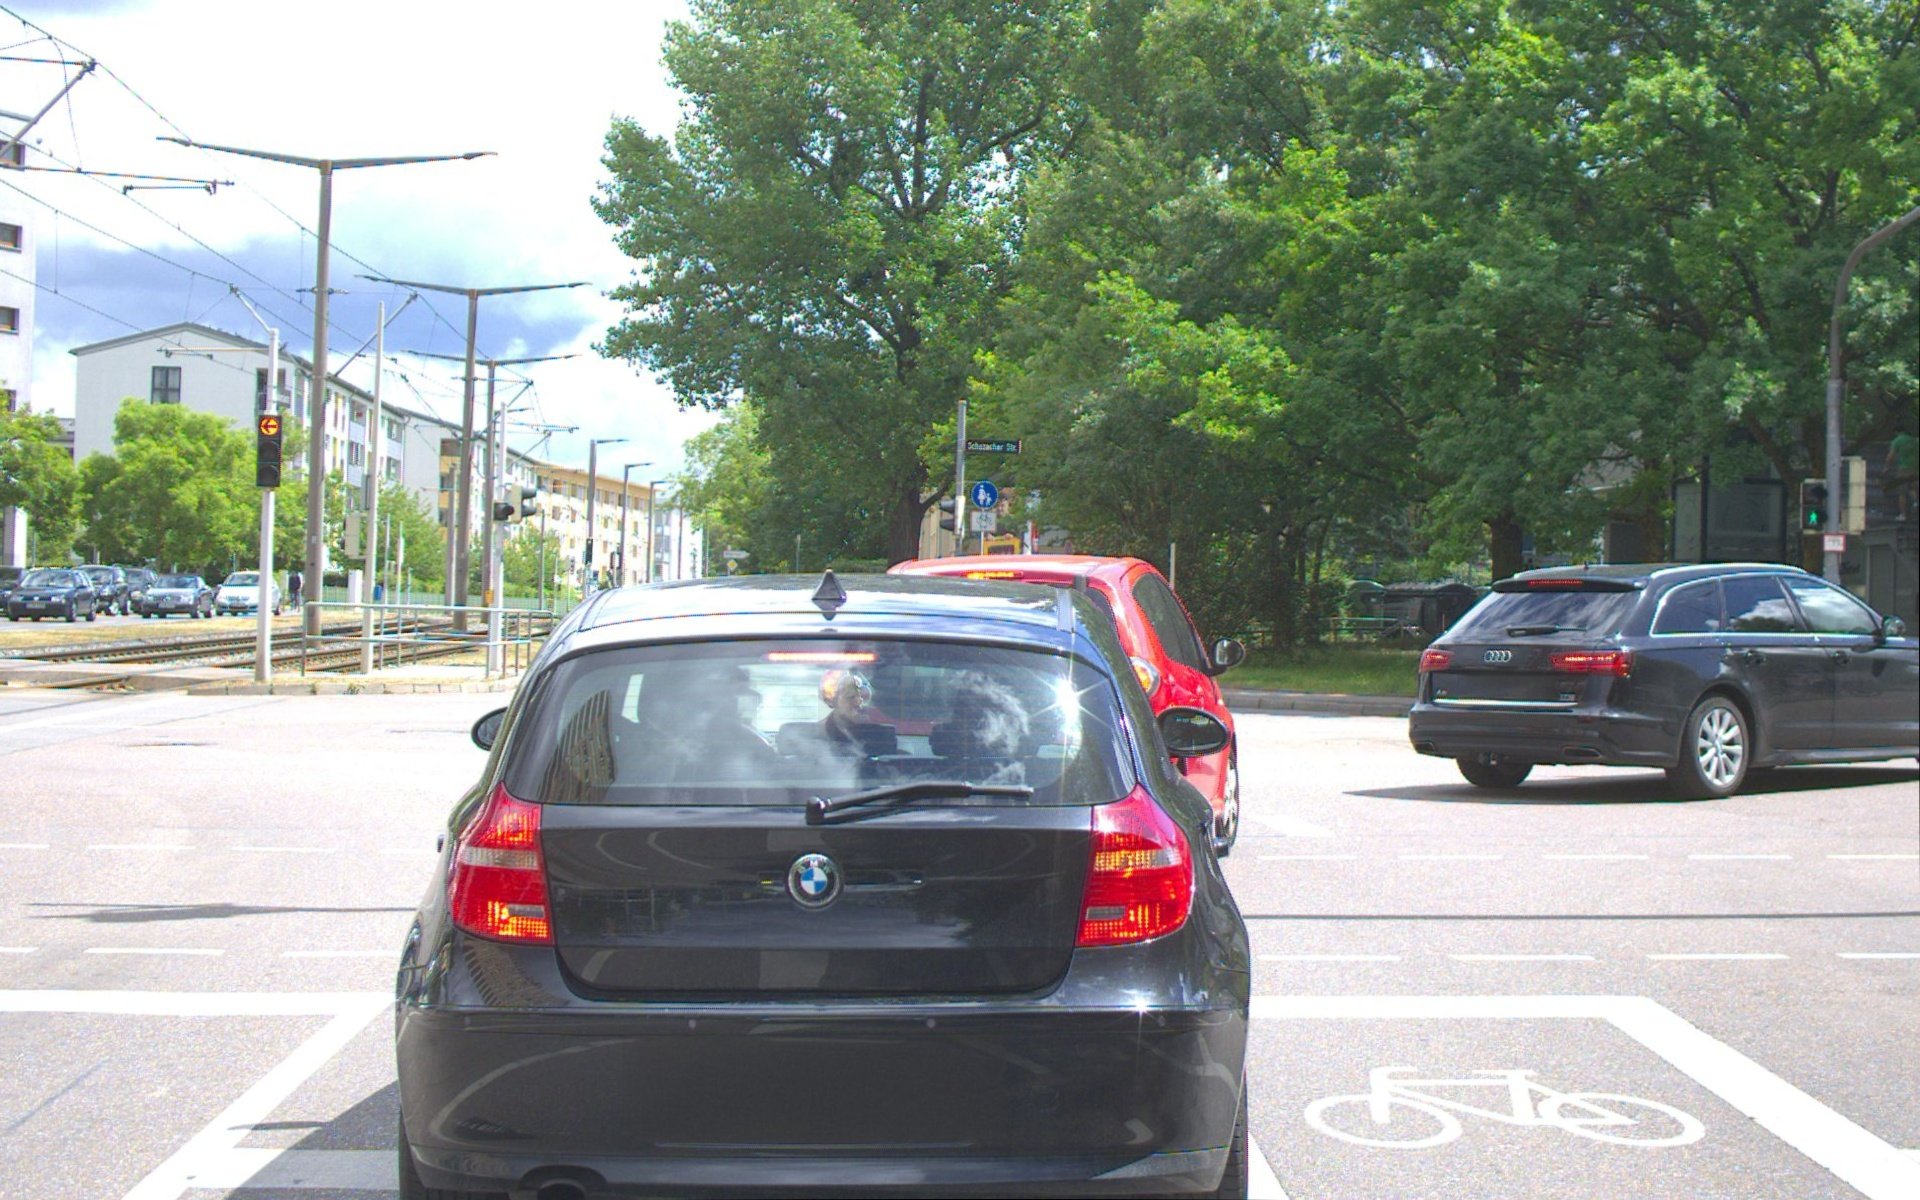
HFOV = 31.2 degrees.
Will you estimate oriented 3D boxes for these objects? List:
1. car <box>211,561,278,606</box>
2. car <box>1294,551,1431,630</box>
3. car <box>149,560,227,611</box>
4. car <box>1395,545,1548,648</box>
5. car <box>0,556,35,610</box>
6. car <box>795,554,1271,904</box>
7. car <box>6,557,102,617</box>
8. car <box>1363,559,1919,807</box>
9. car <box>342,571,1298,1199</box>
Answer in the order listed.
[{"bbox_3d":[-25.396,-0.589,122.173,1.651,1.529,3.872,1,1,-2],"label":"car"},{"bbox_3d":[8.833,-0.224,75.753,1.862,1.656,4.001,1,1,-11],"label":"car"},{"bbox_3d":[-24.123,-0.458,107.573,1.651,1.529,3.872,1,1,-2],"label":"car"},{"bbox_3d":[9.641,-0.098,65.013,1.726,1.865,4.001,1,1,-9],"label":"car"},{"bbox_3d":[-27.535,-0.510,97.563,1.591,1.469,3.775,1,1,-1],"label":"car"},{"bbox_3d":[0.441,0.504,15.892,1.639,1.395,3.418,1,1,11],"label":"car"},{"bbox_3d":[-24.378,-0.372,92.600,1.651,1.529,3.872,1,1,-2],"label":"car"},{"bbox_3d":[4.830,0.459,22.254,4.526,1.417,1.906,-1,2,-43],"label":"car"},{"bbox_3d":[-0.254,0.664,7.857,1.700,1.395,3.420,1,1,0],"label":"car"}]
